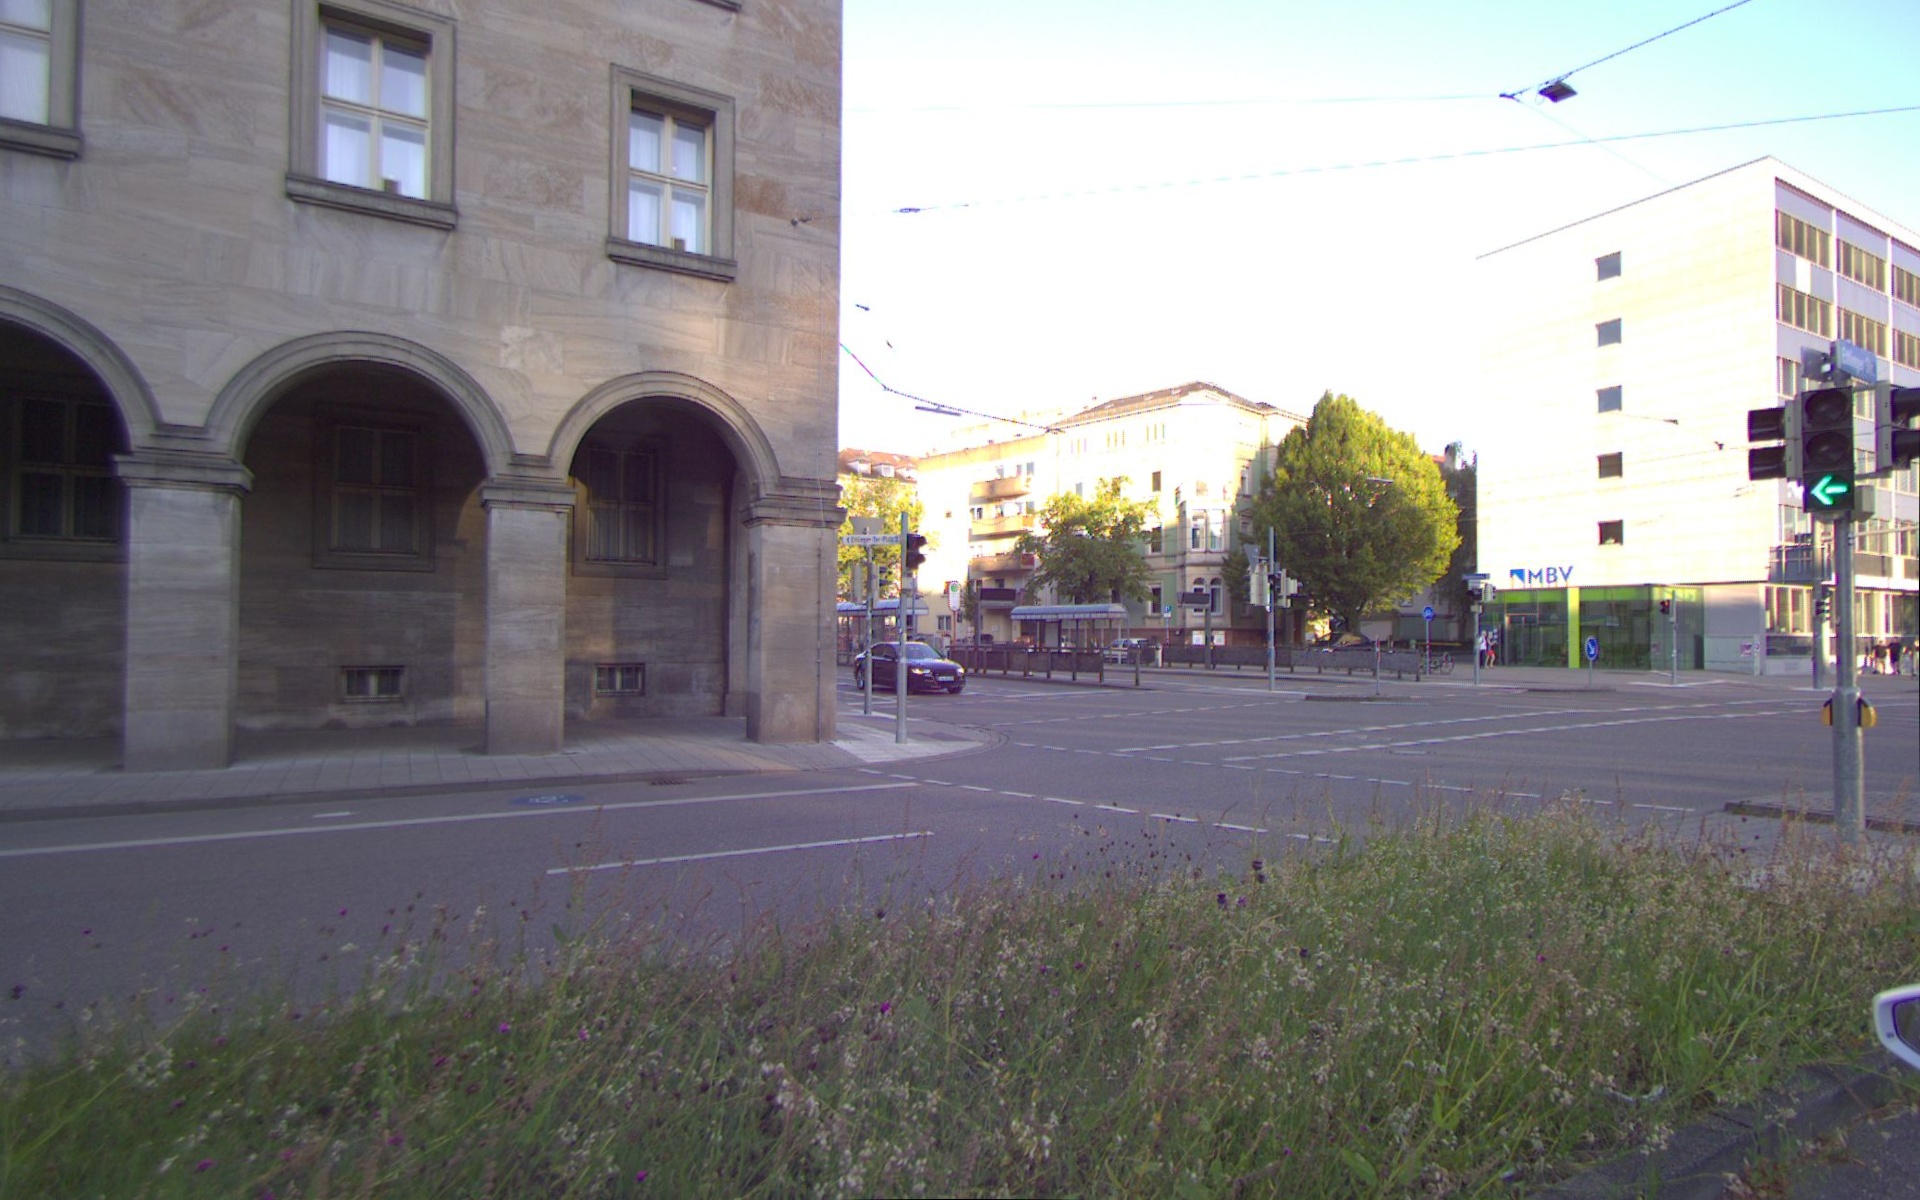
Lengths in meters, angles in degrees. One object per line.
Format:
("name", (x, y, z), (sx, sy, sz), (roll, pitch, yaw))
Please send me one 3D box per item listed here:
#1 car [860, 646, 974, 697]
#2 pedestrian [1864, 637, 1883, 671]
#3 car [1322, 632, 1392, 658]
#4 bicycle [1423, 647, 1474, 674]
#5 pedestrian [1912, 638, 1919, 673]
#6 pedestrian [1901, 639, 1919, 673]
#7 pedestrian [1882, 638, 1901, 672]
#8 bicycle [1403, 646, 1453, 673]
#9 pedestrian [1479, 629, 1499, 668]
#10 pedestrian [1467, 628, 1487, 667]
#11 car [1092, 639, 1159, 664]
("car", (-1.334, 2.025, 29.421), (1.791, 1.344, 4.120), (1, -2, -27))
("pedestrian", (46.028, 2.720, 50.610), (0.494, 1.701, 0.549), (1, -2, -30))
("car", (21.678, 2.455, 54.812), (3.553, 1.390, 1.826), (2, -2, -32))
("bicycle", (21.132, 2.621, 43.428), (2.183, 1.127, 0.834), (1, -2, -26))
("pedestrian", (47.117, 2.700, 49.220), (0.494, 1.701, 0.549), (1, -2, -30))
("pedestrian", (47.272, 2.783, 49.999), (0.494, 1.701, 0.498), (1, -2, -30))
("pedestrian", (46.846, 2.747, 50.520), (0.494, 1.701, 0.549), (1, -2, -30))
("bicycle", (20.568, 2.610, 44.161), (2.183, 1.127, 0.834), (1, -2, -26))
("pedestrian", (25.218, 2.309, 47.861), (0.718, 1.813, 0.634), (2, -2, -43))
("pedestrian", (24.431, 2.247, 47.439), (0.718, 1.813, 0.634), (2, -2, -44))
("car", (9.672, 3.012, 58.855), (3.545, 1.390, 1.831), (-2, -3, 45))
